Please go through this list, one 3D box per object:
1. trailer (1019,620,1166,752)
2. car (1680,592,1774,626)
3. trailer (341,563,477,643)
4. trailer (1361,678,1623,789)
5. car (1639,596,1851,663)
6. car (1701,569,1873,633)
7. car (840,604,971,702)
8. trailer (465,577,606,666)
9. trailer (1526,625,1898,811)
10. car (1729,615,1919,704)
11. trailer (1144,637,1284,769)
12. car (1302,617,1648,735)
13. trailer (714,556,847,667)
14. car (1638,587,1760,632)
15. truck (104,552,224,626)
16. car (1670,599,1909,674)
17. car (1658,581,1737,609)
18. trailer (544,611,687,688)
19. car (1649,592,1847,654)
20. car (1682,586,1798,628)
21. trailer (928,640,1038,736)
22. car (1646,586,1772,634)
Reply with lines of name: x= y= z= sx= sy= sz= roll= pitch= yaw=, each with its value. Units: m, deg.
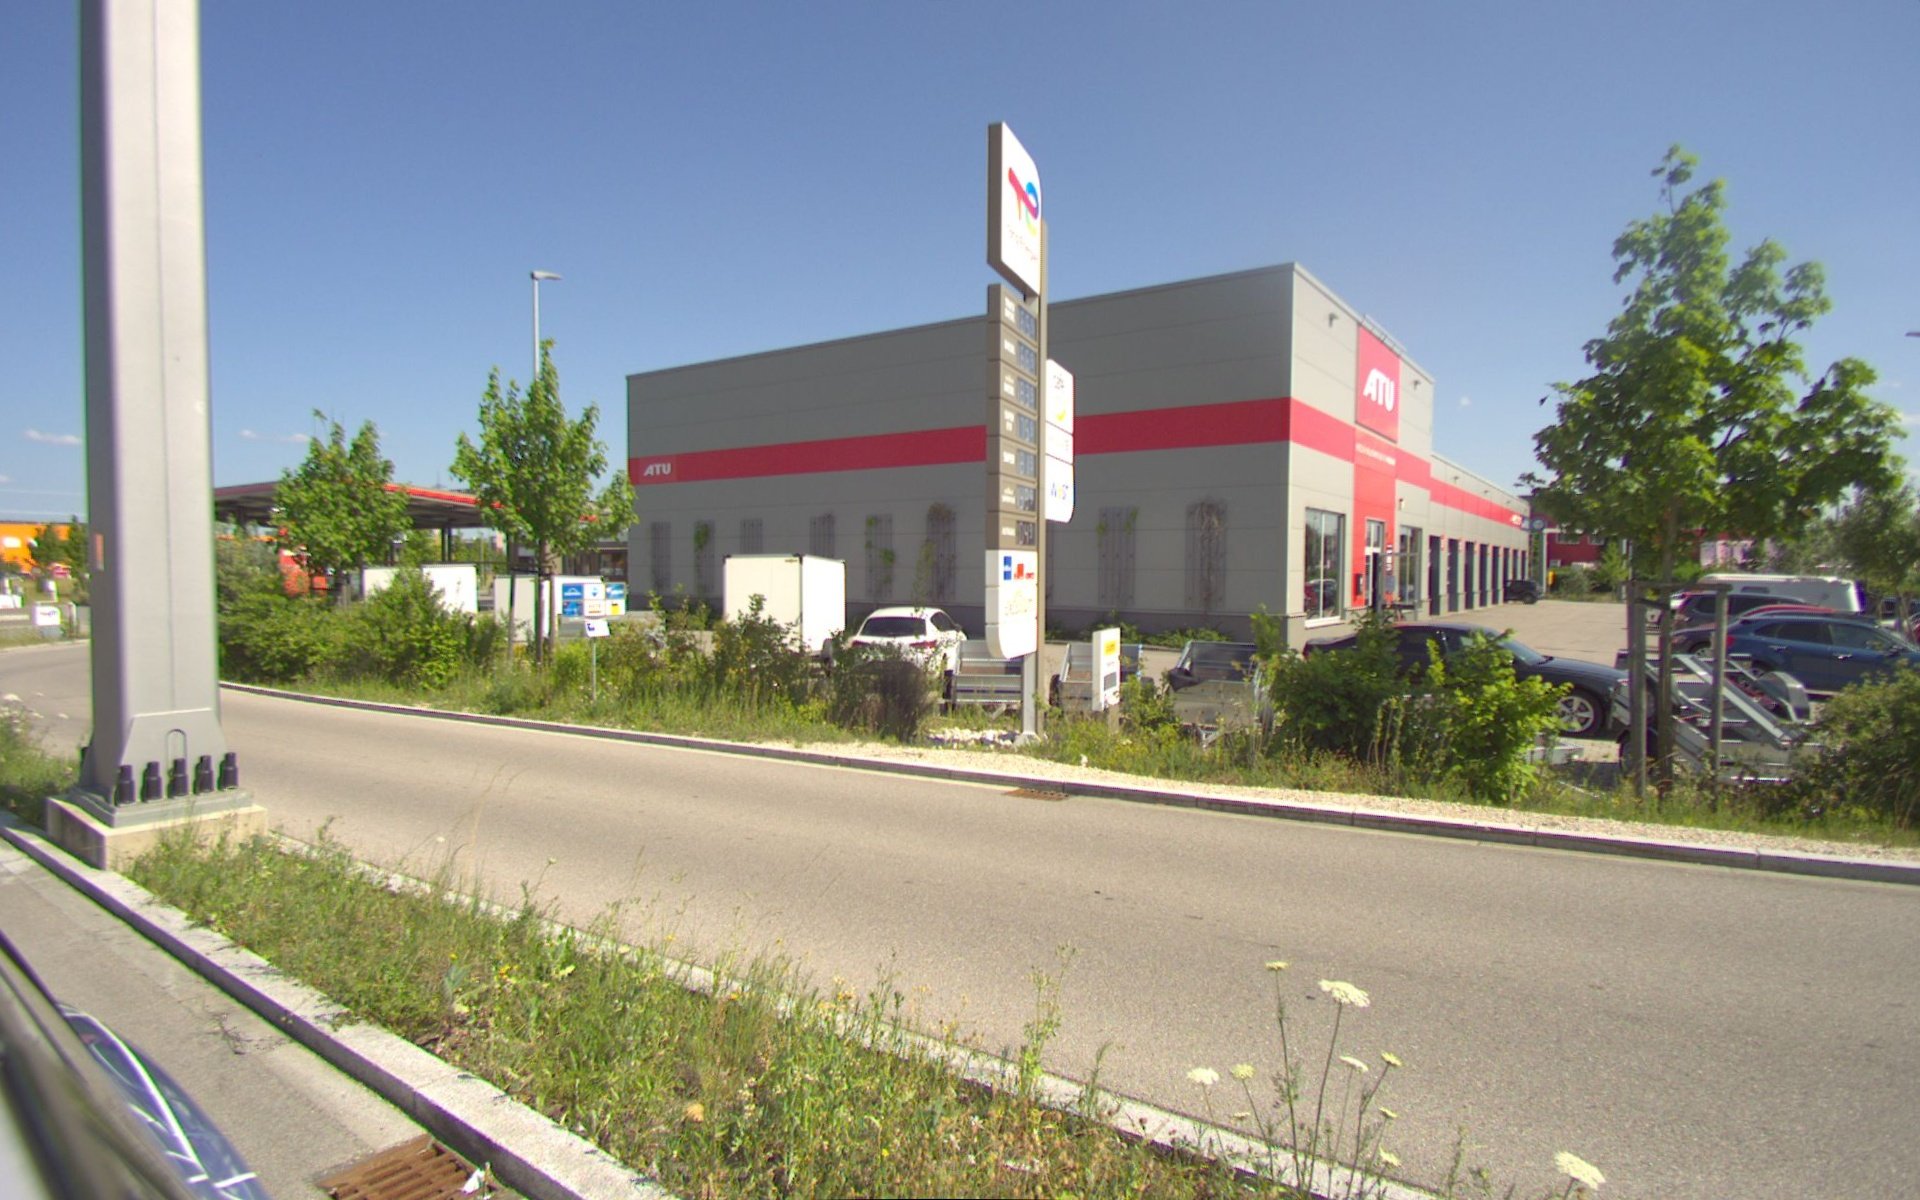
trailer: x=1.963 y=1.104 z=14.276 sx=1.535 sy=1.494 sz=3.173 roll=-1 pitch=1 yaw=17
car: x=39.737 y=0.451 z=52.514 sx=3.733 sy=1.662 sz=1.725 roll=0 pitch=1 yaw=33
trailer: x=-14.989 y=0.046 z=27.730 sx=1.972 sy=2.028 sz=3.207 roll=-1 pitch=1 yaw=-1
trailer: x=6.219 y=1.535 z=12.201 sx=1.843 sy=0.888 sz=2.833 roll=-1 pitch=1 yaw=6
car: x=19.195 y=0.664 z=24.899 sx=3.996 sy=1.475 sz=1.802 roll=0 pitch=2 yaw=39
car: x=27.679 y=0.011 z=34.077 sx=4.339 sy=2.029 sz=1.881 roll=0 pitch=1 yaw=35
car: x=-0.922 y=0.931 z=19.391 sx=1.699 sy=1.547 sz=3.989 roll=-1 pitch=1 yaw=9
trailer: x=-10.369 y=0.477 z=24.910 sx=1.979 sy=2.028 sz=2.727 roll=-1 pitch=1 yaw=11
trailer: x=8.354 y=1.210 z=11.728 sx=1.686 sy=1.462 sz=3.694 roll=-1 pitch=4 yaw=4
car: x=16.170 y=1.006 z=17.882 sx=3.990 sy=1.475 sz=1.804 roll=0 pitch=-1 yaw=34
trailer: x=3.402 y=1.249 z=13.254 sx=1.380 sy=1.332 sz=2.890 roll=-1 pitch=1 yaw=22
car: x=7.833 y=1.052 z=15.630 sx=4.493 sy=1.494 sz=1.780 roll=-1 pitch=1 yaw=39
trailer: x=-3.501 y=0.180 z=20.290 sx=1.727 sy=2.028 sz=3.233 roll=-1 pitch=1 yaw=7
car: x=28.725 y=0.356 z=39.471 sx=3.733 sy=1.662 sz=1.725 roll=0 pitch=1 yaw=33
truck: x=-39.082 y=-0.577 z=49.958 sx=2.596 sy=3.343 sz=6.929 roll=-1 pitch=1 yaw=-20
car: x=18.425 y=0.748 z=22.681 sx=3.996 sy=1.475 sz=1.802 roll=0 pitch=2 yaw=39
car: x=44.622 y=-0.306 z=61.335 sx=3.733 sy=1.662 sz=1.725 roll=0 pitch=1 yaw=33
trailer: x=-7.971 y=1.091 z=23.732 sx=1.583 sy=1.521 sz=3.588 roll=-1 pitch=1 yaw=11
car: x=20.653 y=0.551 z=26.665 sx=3.996 sy=1.475 sz=1.802 roll=0 pitch=2 yaw=39
car: x=33.017 y=0.283 z=42.965 sx=3.733 sy=1.662 sz=1.725 roll=0 pitch=1 yaw=33
trailer: x=0.409 y=1.237 z=14.942 sx=1.305 sy=1.094 sz=2.769 roll=-1 pitch=1 yaw=8
car: x=27.704 y=0.360 z=37.499 sx=3.689 sy=1.662 sz=1.722 roll=0 pitch=2 yaw=38
